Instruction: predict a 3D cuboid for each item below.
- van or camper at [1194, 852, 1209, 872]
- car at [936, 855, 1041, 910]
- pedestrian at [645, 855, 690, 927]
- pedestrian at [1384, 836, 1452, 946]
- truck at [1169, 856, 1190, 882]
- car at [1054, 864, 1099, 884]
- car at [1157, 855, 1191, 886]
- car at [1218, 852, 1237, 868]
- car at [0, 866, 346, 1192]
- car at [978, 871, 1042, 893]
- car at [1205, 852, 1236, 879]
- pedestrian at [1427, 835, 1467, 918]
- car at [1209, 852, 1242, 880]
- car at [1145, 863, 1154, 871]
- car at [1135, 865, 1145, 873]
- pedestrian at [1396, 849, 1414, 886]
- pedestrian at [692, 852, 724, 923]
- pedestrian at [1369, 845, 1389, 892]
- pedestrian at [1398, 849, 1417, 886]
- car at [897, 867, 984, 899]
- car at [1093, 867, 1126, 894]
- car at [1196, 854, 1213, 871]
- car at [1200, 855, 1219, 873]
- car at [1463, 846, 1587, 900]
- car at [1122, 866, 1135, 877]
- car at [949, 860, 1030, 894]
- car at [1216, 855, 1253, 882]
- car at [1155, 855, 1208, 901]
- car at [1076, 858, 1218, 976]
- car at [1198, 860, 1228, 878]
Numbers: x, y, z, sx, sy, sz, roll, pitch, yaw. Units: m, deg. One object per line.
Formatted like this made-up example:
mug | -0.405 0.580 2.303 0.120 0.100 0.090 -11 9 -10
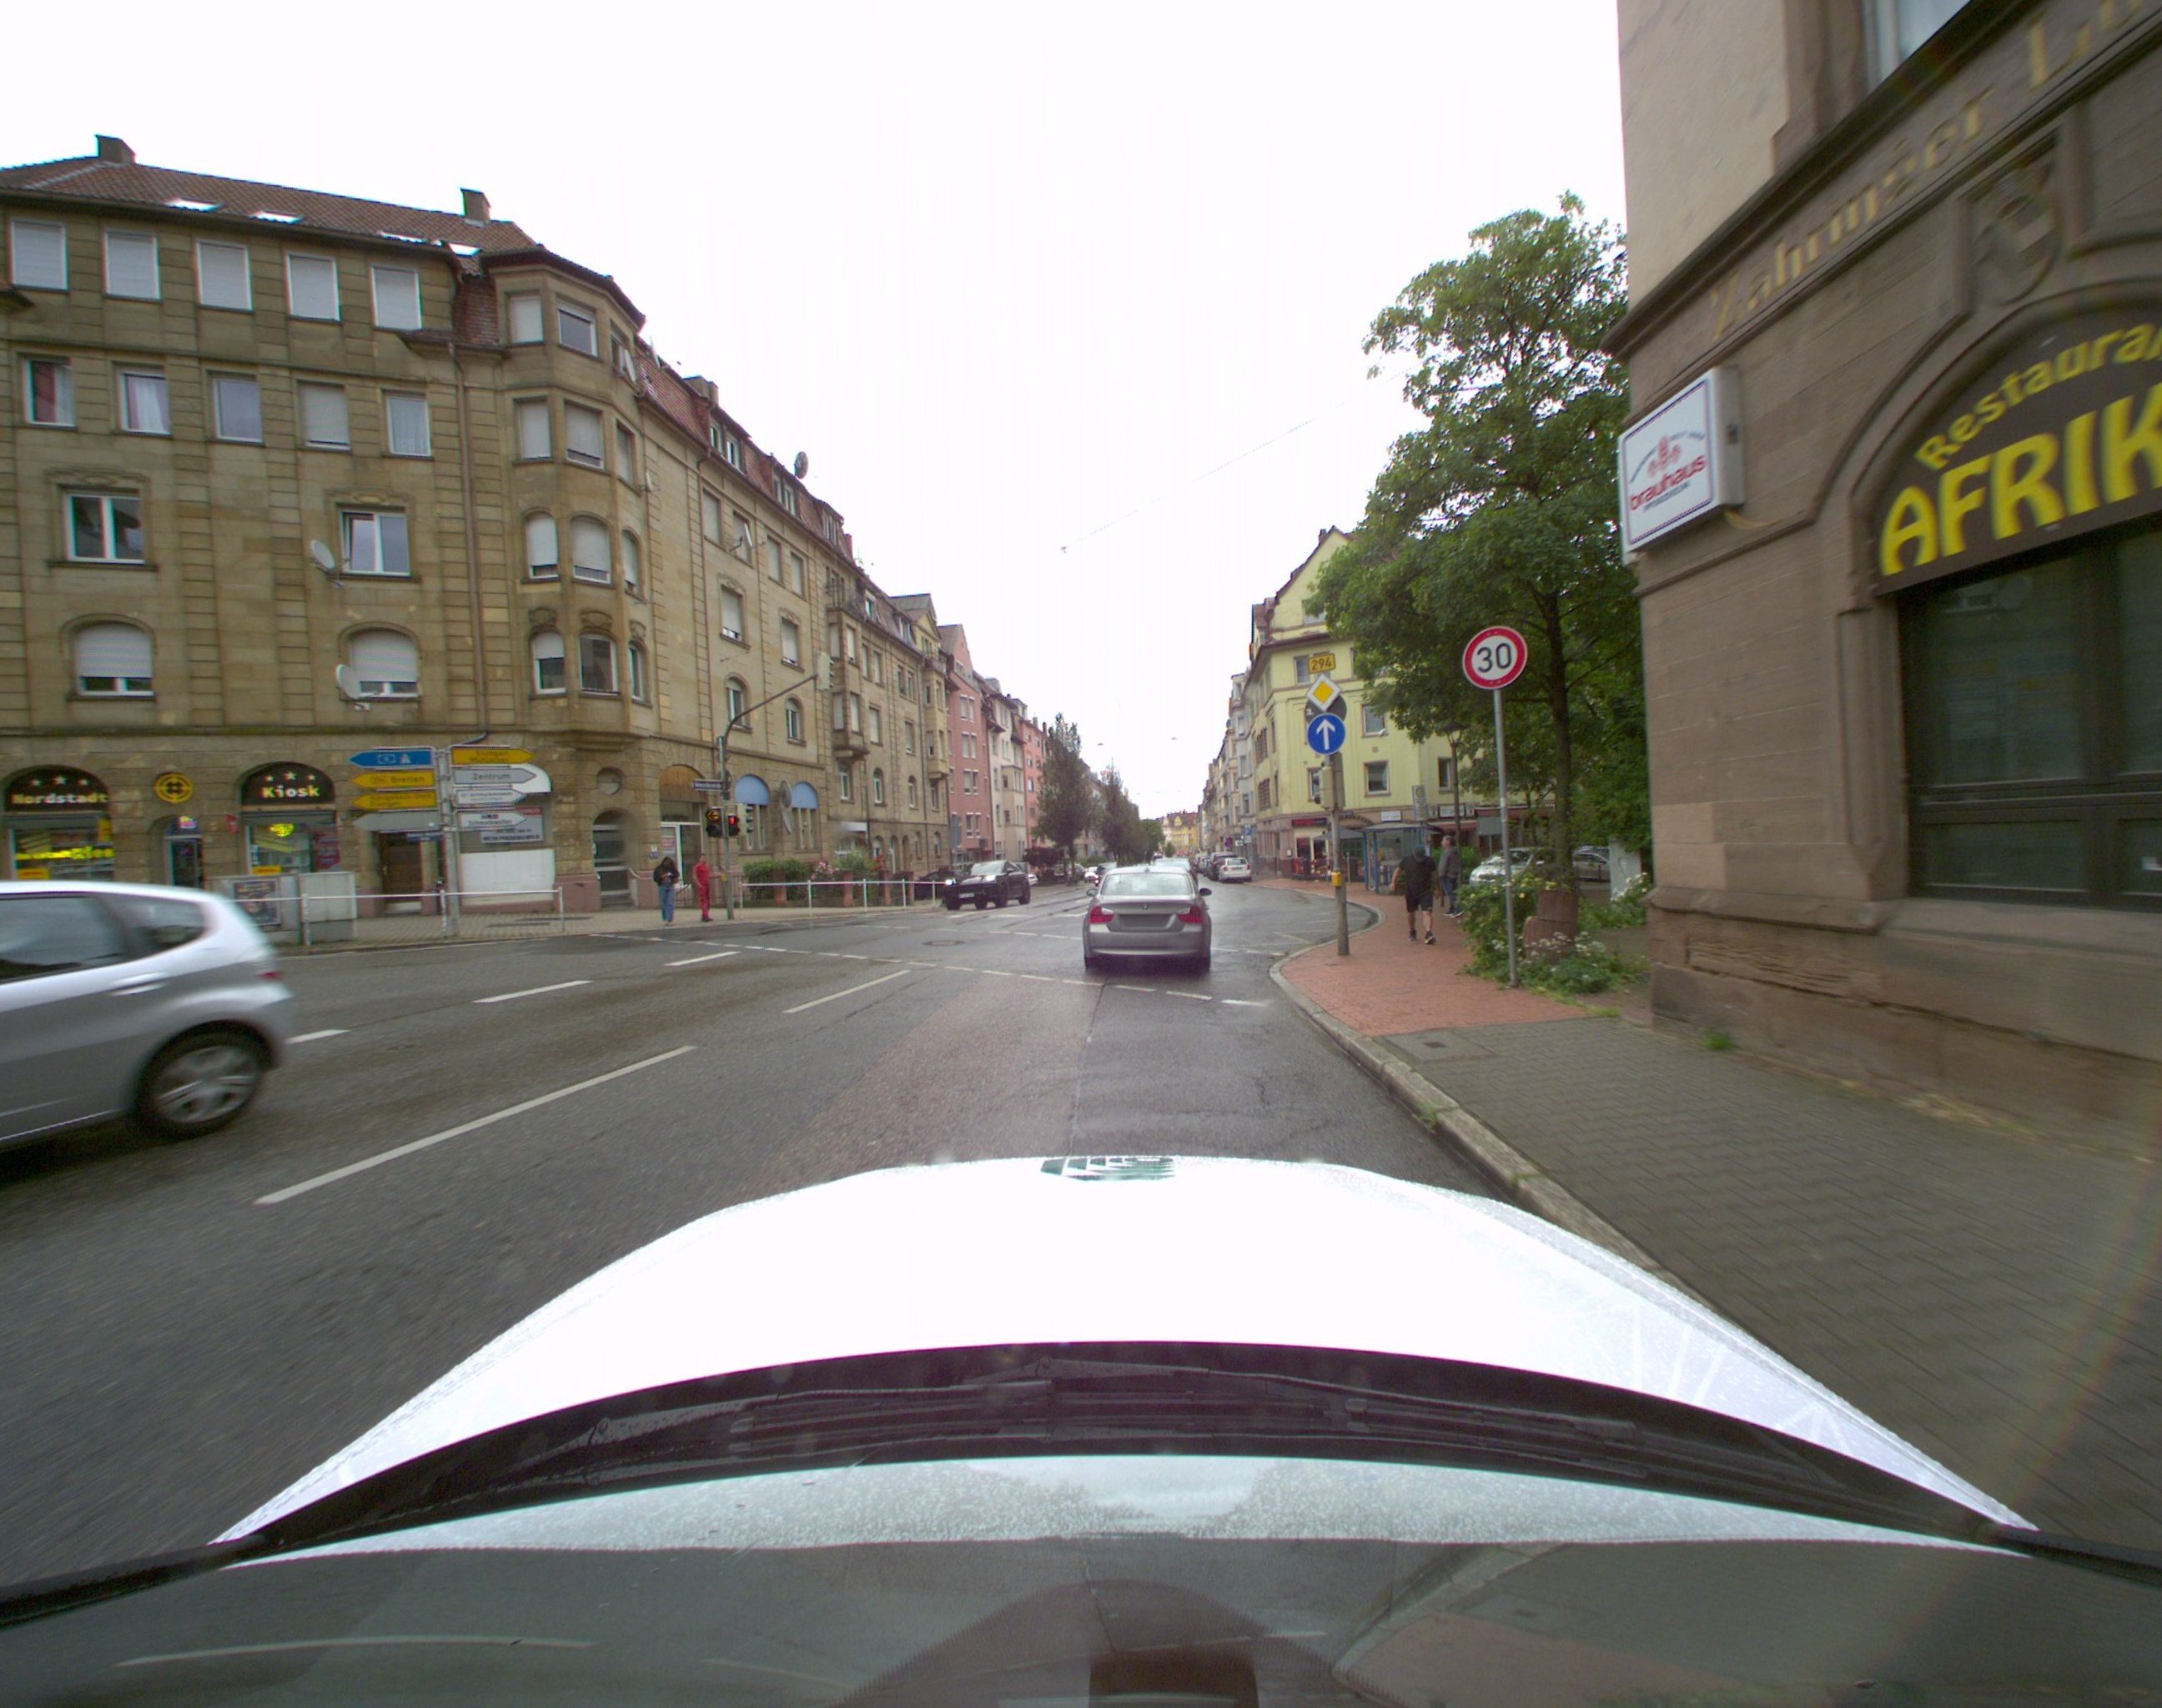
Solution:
van or camper | 18.301 1.202 123.352 2.020 2.869 6.905 0 -1 11
car | -3.109 0.986 28.487 1.950 1.693 4.827 -2 -2 15
pedestrian | -10.070 0.882 19.837 0.833 1.702 0.631 0 -1 -43
pedestrian | 5.413 0.568 13.059 0.820 1.679 0.899 -1 -1 34
truck | 9.886 1.513 81.918 2.021 2.413 4.835 -1 -1 6
car | -0.453 2.270 93.162 4.803 1.974 2.052 -4 -1 7
car | 4.921 0.878 43.106 1.689 1.483 3.800 -1 -1 6
car | 16.390 0.673 91.454 1.717 1.670 4.296 -5 -1 7
car | -5.984 0.860 3.624 1.616 1.518 3.878 -1 0 7
car | -5.396 2.135 62.192 4.524 1.401 1.771 -4 -1 6
car | 10.266 0.838 60.351 1.909 1.827 5.019 -4 -1 7
pedestrian | 7.857 0.471 17.488 0.566 1.734 0.736 -1 -1 42
car | 9.593 0.819 54.263 1.869 1.731 4.686 -1 -1 7
car | 14.940 2.812 178.089 1.627 1.508 3.762 -6 -2 7
car | 12.255 3.162 167.931 1.681 1.523 3.745 -5 -1 8
pedestrian | 11.623 0.478 29.200 0.564 1.280 0.622 -1 -1 19
pedestrian | -9.493 0.846 20.759 0.694 1.774 0.520 -1 -1 -22
pedestrian | 11.190 0.544 30.605 0.553 1.775 0.549 -1 -1 36
pedestrian | 11.463 0.475 28.574 0.564 1.280 0.537 -1 -1 19
car | -7.512 1.556 43.742 4.125 1.510 1.877 -2 -1 7
car | 2.113 1.892 59.082 1.610 1.649 4.433 -6 -2 11
car | 17.131 1.226 113.063 1.971 2.166 4.759 -4 -1 7
car | 15.542 1.195 98.487 1.971 2.007 4.634 -4 -1 7
car | 13.272 0.549 24.312 3.689 1.502 1.752 1 0 -34
car | 7.393 2.700 126.149 1.758 1.594 4.006 -5 -1 6
car | -5.457 1.383 49.015 4.663 1.939 1.861 -1 -1 -3
car | 9.184 0.866 48.961 1.790 1.565 4.500 -1 -1 6
car | 3.496 0.815 27.996 1.672 1.428 3.749 -2 -1 8
car | 0.980 0.807 12.179 1.761 1.428 3.745 -1 0 4
car | 11.662 1.342 72.193 1.868 1.467 4.775 -2 -1 1
